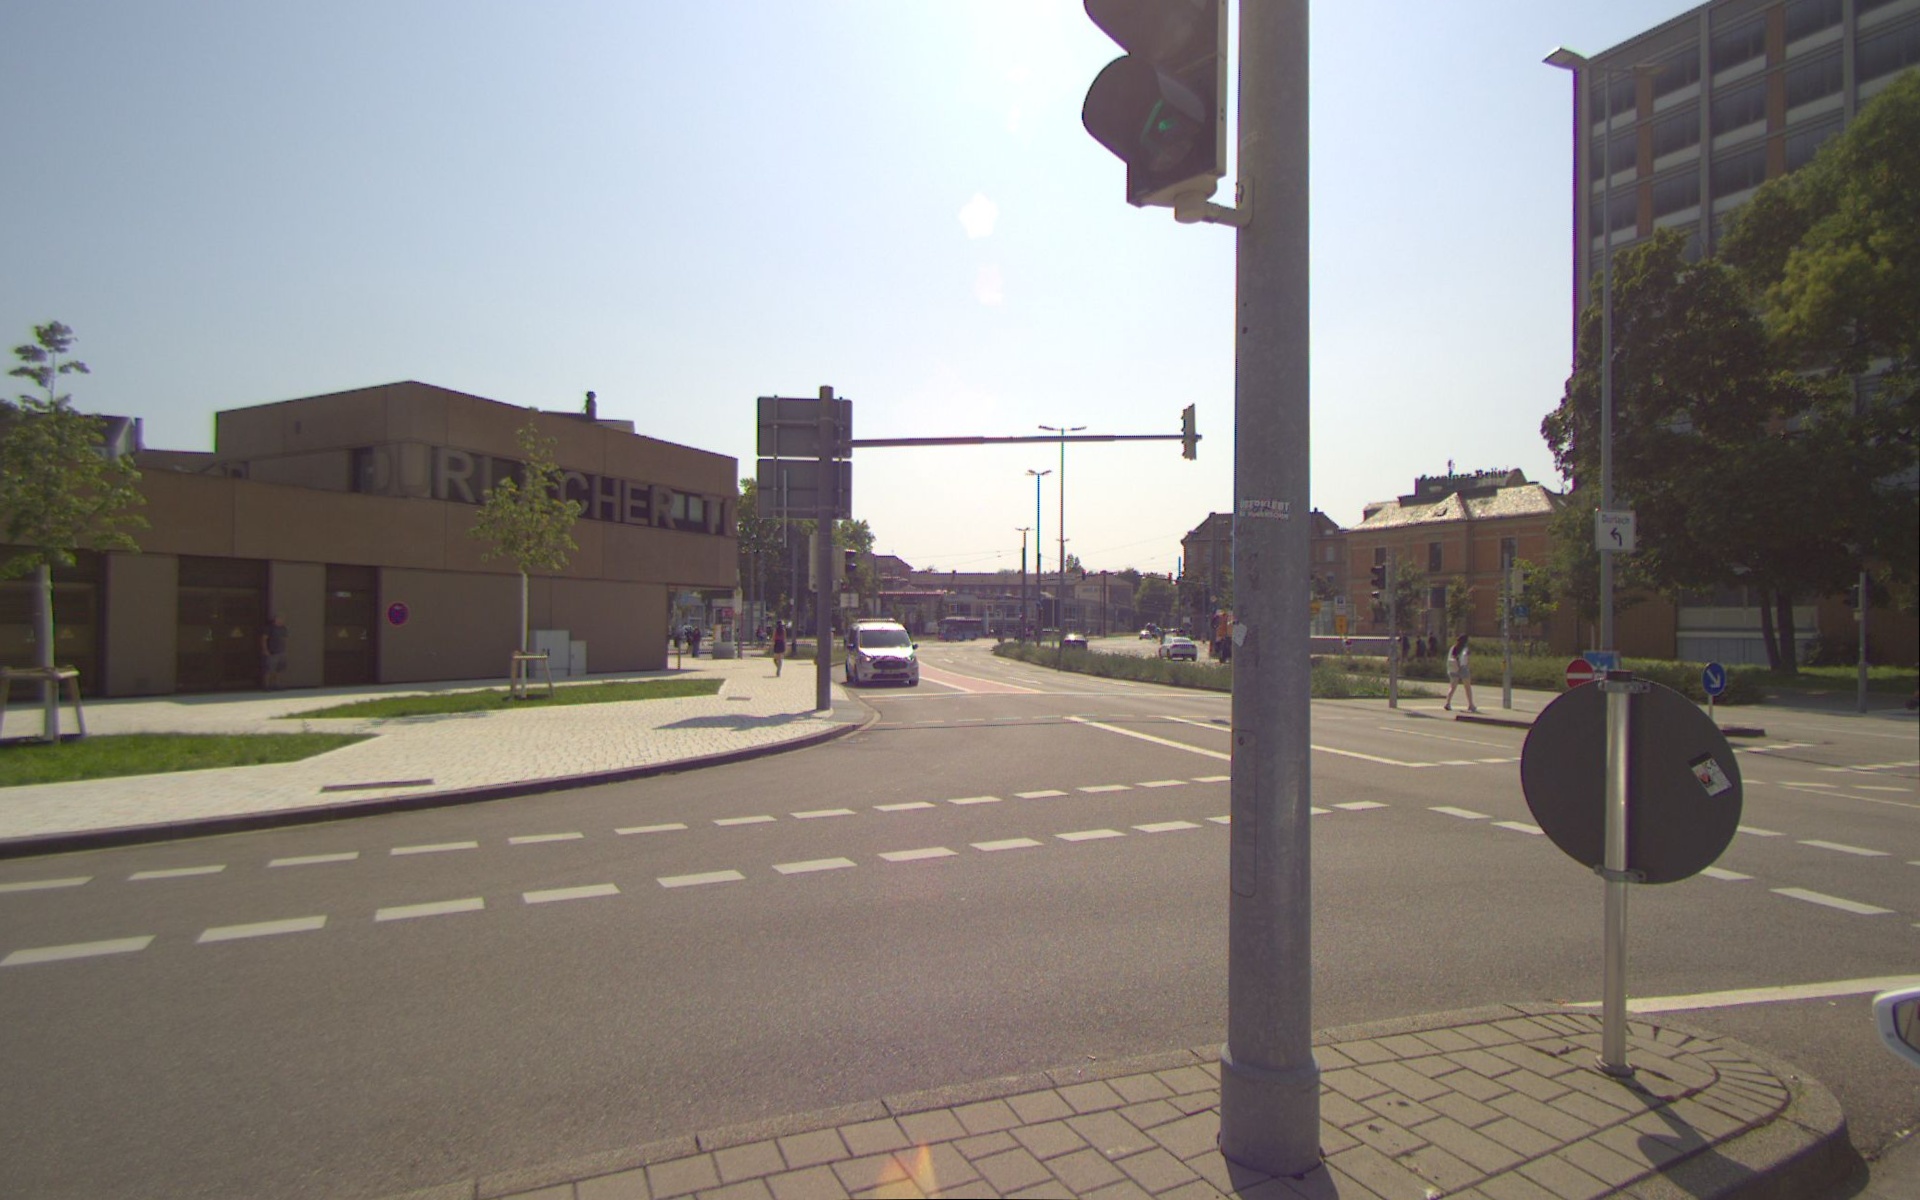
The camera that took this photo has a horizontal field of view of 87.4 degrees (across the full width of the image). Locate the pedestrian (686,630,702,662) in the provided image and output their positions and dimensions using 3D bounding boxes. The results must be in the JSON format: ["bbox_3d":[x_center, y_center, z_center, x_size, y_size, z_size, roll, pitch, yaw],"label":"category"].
[{"bbox_3d":[-14.132,2.440,53.372,0.634,1.725,0.809,1,-1,-4],"label":"pedestrian"}]

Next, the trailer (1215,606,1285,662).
[{"bbox_3d":[16.836,1.964,58.700,2.421,3.047,6.328,2,-1,2],"label":"trailer"}]

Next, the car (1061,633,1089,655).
[{"bbox_3d":[7.969,3.038,69.904,1.728,1.423,3.983,1,-1,4],"label":"car"}]

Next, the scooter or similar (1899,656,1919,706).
[{"bbox_3d":[24.928,2.091,25.676,1.349,1.251,0.582,-1,-2,43],"label":"scooter or similar"}]

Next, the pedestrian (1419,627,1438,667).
[{"bbox_3d":[24.073,2.397,51.608,0.764,1.999,0.754,0,-1,15],"label":"pedestrian"}]

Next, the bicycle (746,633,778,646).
[{"bbox_3d":[-15.273,3.060,77.553,2.378,0.966,0.601,1,-1,-18],"label":"bicycle"}]

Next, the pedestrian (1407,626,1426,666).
[{"bbox_3d":[23.174,2.323,51.026,0.764,1.999,0.754,0,-1,15],"label":"pedestrian"}]

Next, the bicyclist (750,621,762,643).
[{"bbox_3d":[-15.708,2.478,77.429,0.828,1.664,0.604,0,-1,-18],"label":"bicyclist"}]

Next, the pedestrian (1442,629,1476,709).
[{"bbox_3d":[11.002,1.499,22.154,0.597,1.717,0.698,-1,-1,32],"label":"pedestrian"}]

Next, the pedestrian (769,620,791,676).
[{"bbox_3d":[-5.608,1.485,31.308,0.616,1.725,0.786,1,-1,-8],"label":"pedestrian"}]

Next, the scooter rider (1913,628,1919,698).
[{"bbox_3d":[24.898,1.611,25.650,0.793,1.762,0.685,0,-2,42],"label":"scooter rider"}]

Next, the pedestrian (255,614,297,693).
[{"bbox_3d":[-14.893,1.148,21.873,0.558,1.700,0.535,0,-1,26],"label":"pedestrian"}]

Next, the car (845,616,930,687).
[{"bbox_3d":[-2.222,1.454,29.697,1.964,1.884,4.326,-2,-1,-11],"label":"car"}]

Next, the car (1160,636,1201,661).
[{"bbox_3d":[14.131,3.104,64.622,1.729,1.474,4.426,2,-1,1],"label":"car"}]

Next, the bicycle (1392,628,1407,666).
[{"bbox_3d":[22.294,2.349,50.944,0.447,1.885,1.364,0,-1,12],"label":"bicycle"}]

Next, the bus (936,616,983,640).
[{"bbox_3d":[0.022,3.763,134.672,3.002,2.970,11.858,0,-1,17],"label":"bus"}]
